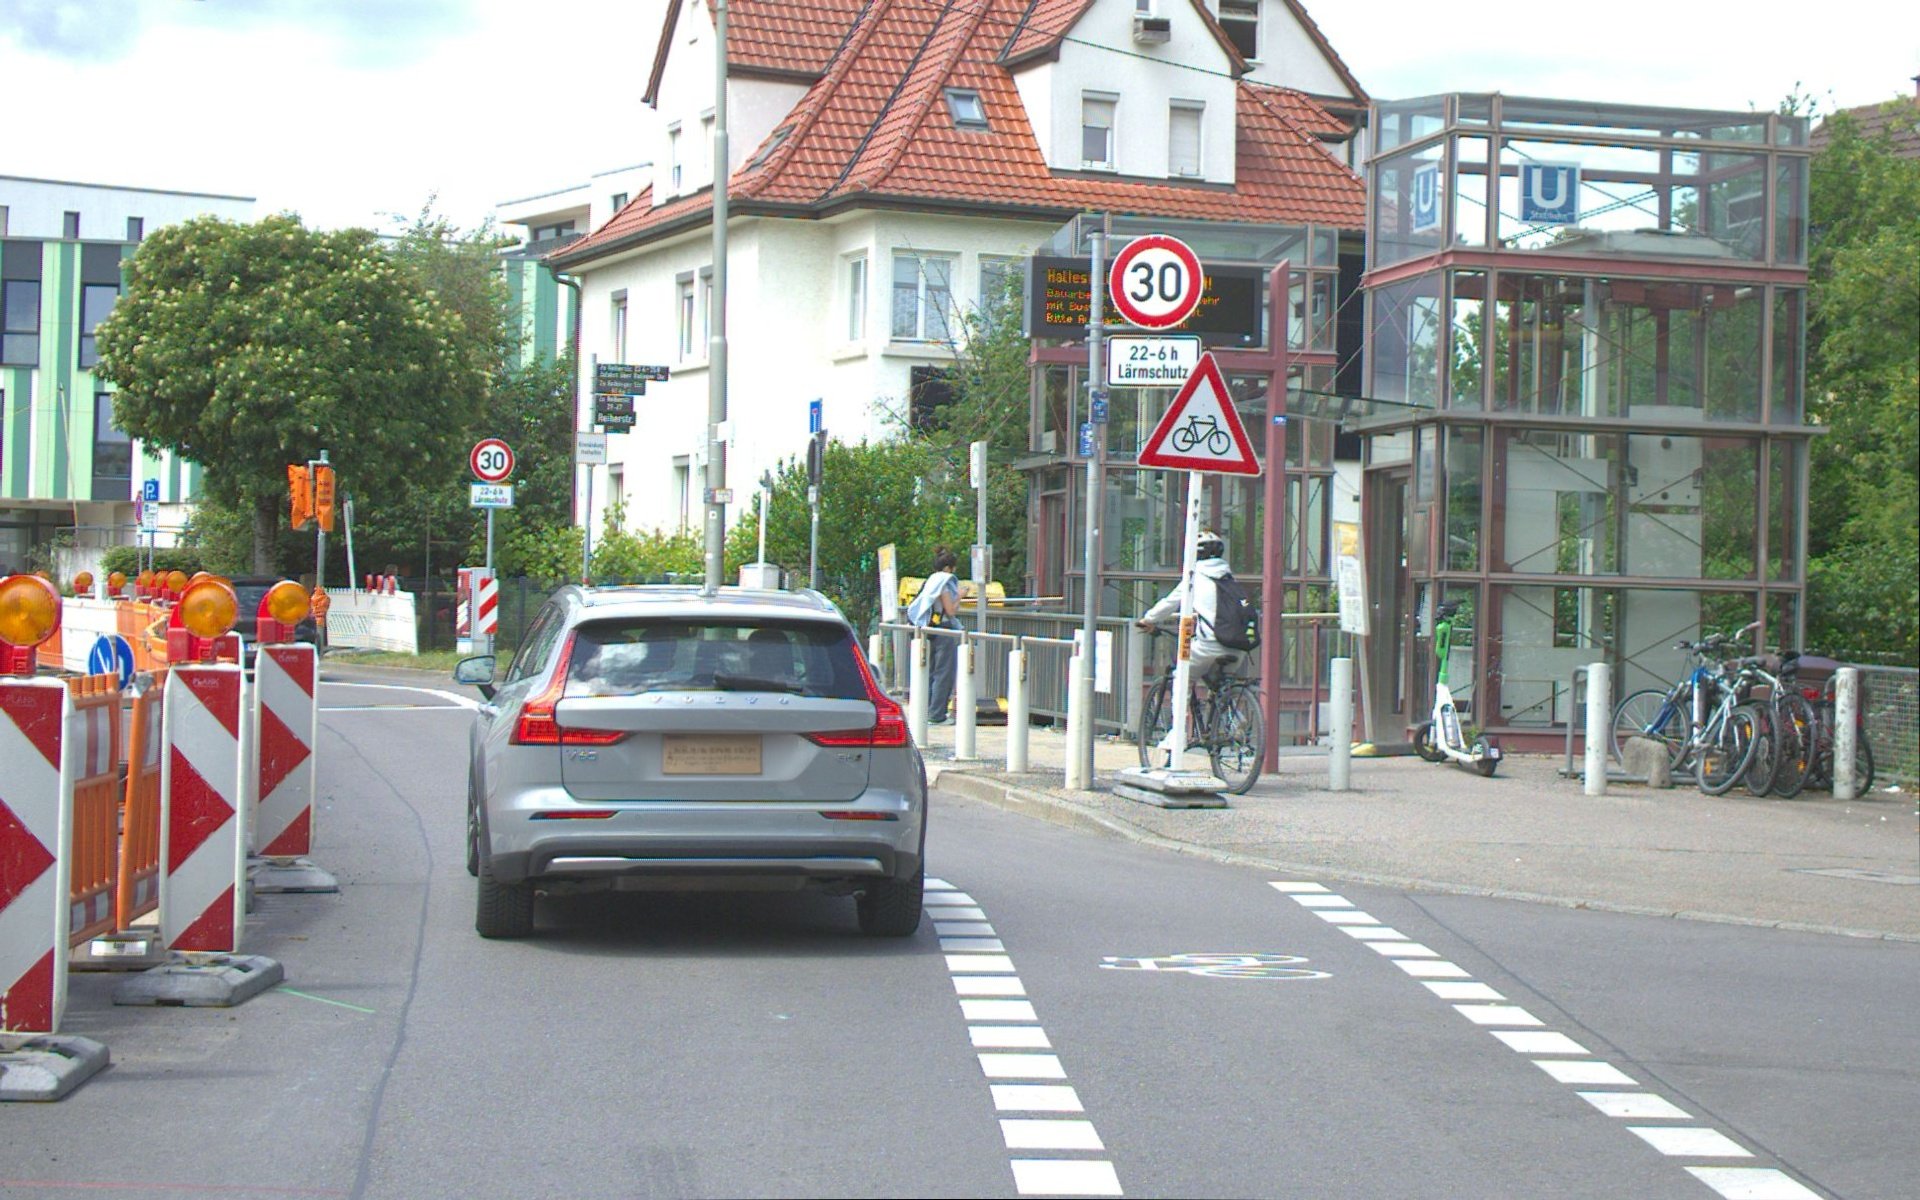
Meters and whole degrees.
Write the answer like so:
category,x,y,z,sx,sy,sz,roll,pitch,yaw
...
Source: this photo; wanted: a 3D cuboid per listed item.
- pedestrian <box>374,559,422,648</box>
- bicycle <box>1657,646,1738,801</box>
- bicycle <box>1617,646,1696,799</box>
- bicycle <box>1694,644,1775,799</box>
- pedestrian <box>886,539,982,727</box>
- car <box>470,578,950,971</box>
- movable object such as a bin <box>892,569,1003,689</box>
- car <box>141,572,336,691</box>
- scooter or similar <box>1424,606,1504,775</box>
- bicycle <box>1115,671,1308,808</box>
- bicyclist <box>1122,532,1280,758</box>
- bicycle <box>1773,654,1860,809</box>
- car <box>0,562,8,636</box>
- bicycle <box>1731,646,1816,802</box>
category,x,y,z,sx,sy,sz,roll,pitch,yaw
pedestrian,-9.790,0.061,59.909,0.635,1.534,0.521,1,0,22
bicycle,5.020,0.830,23.441,0.215,0.997,1.207,0,0,-4
bicycle,4.739,0.821,23.430,0.215,0.985,1.204,0,0,-4
bicycle,5.283,0.818,23.482,0.215,1.010,1.169,0,0,-4
pedestrian,-0.230,0.293,30.156,0.597,1.577,0.401,7,-3,-13
car,-1.185,0.669,15.394,1.854,1.508,4.001,0,0,-6
movable object such as a bin,-0.165,0.367,43.685,1.268,1.465,1.005,2,0,-7
car,-10.008,0.415,47.484,1.854,1.508,4.001,3,-1,-23
scooter or similar,3.560,0.630,24.333,0.215,1.108,0.947,0,4,-12
bicycle,1.599,0.881,22.202,0.635,0.751,2.063,2,1,-13
bicyclist,1.549,0.274,22.241,0.656,1.411,1.179,2,1,-13
bicycle,5.847,0.885,23.492,0.215,1.005,1.189,0,0,-4
car,-21.278,-0.078,71.149,1.845,1.508,4.000,3,-1,-33
bicycle,5.550,0.834,23.481,0.215,1.005,1.189,0,0,-4
